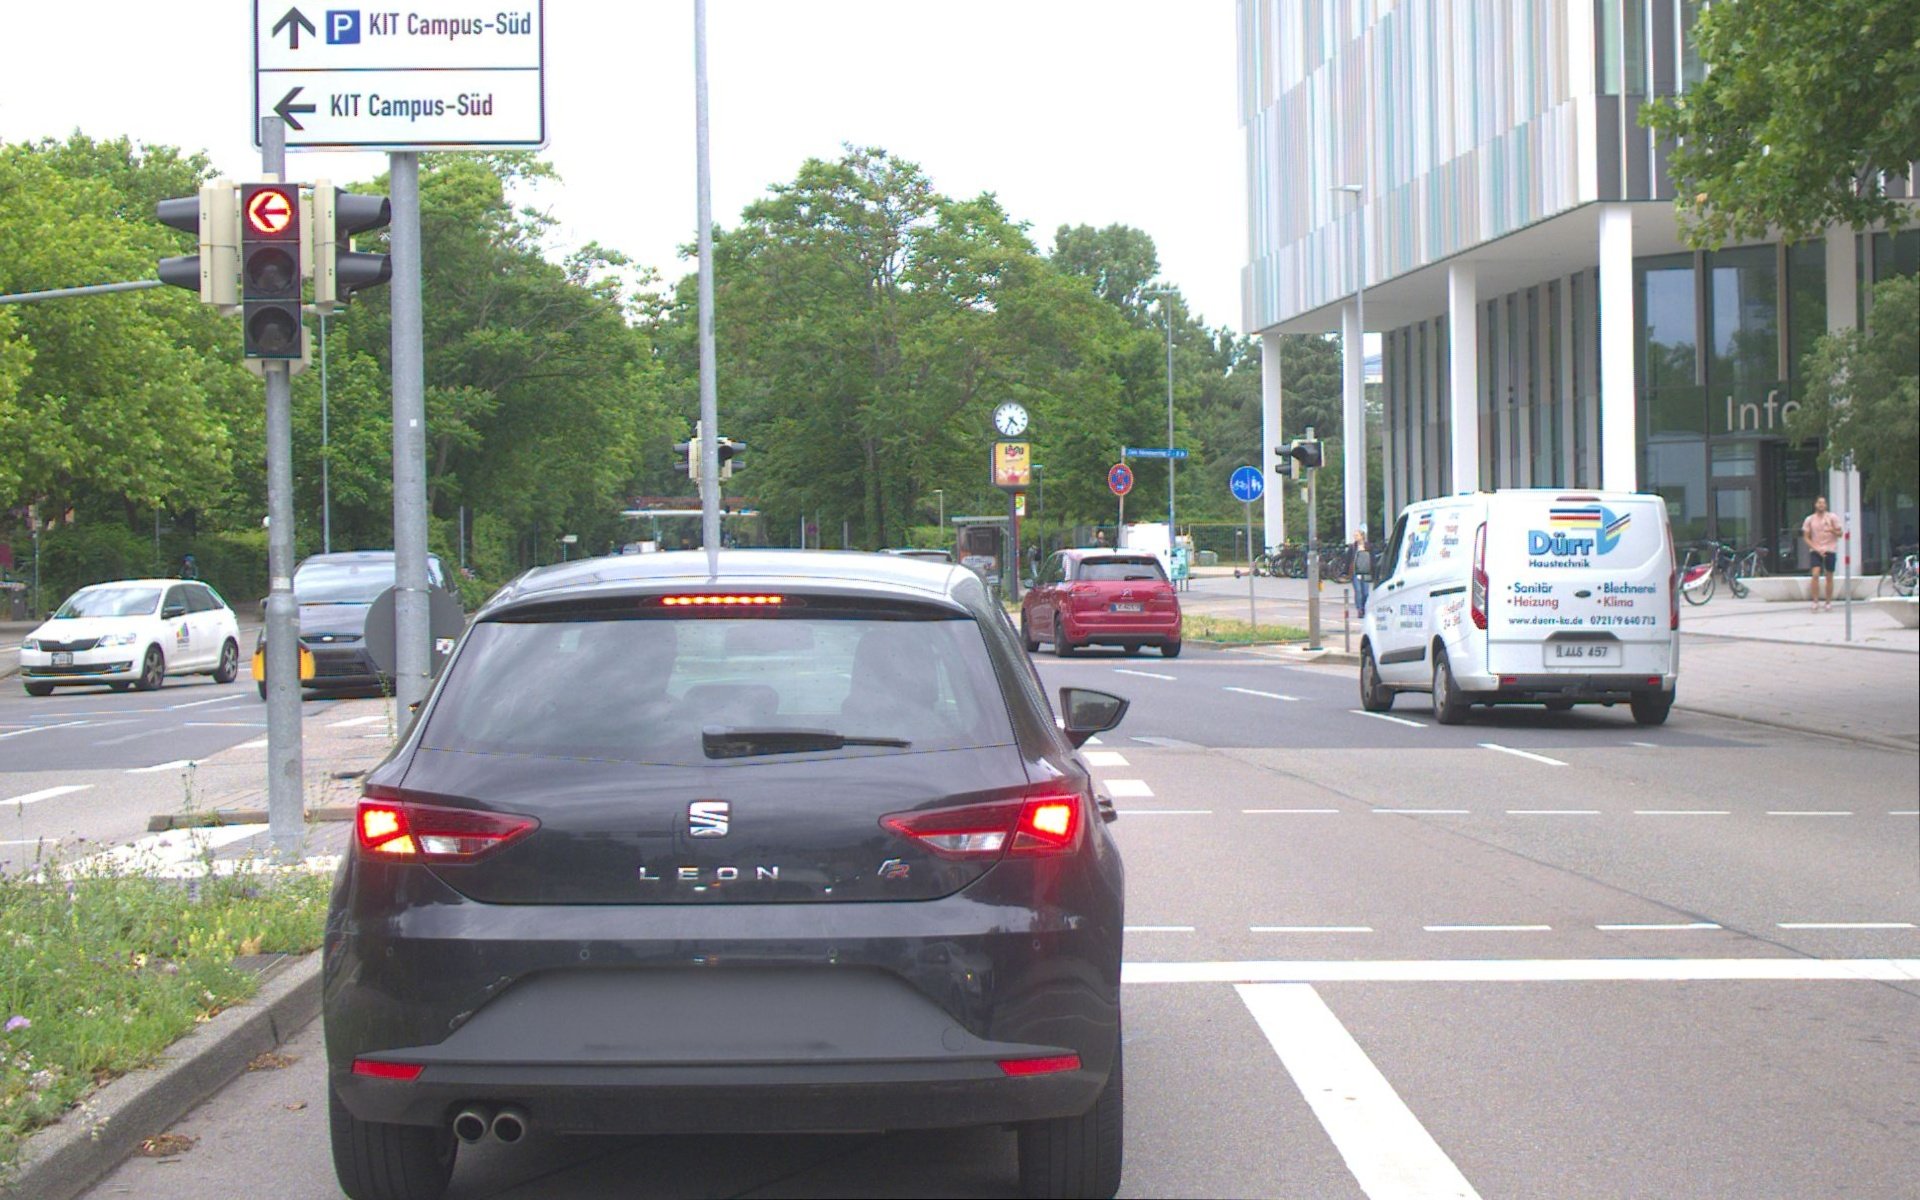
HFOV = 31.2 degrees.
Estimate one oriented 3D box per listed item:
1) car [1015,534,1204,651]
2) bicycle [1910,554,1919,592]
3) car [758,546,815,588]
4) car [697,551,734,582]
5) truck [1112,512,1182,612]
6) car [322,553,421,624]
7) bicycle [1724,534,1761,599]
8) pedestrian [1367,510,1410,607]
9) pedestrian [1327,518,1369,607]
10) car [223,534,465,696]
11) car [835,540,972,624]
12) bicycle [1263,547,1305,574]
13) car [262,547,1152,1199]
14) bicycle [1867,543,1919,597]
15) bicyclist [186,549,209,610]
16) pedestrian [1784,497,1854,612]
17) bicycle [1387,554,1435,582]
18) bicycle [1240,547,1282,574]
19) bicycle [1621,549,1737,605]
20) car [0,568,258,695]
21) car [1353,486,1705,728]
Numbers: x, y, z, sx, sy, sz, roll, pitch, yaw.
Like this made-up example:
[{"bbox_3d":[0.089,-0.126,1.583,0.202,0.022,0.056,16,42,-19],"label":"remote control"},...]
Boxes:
[{"bbox_3d":[2.175,-0.143,50.955,1.948,1.618,3.750,0,2,-11],"label":"car"},{"bbox_3d":[18.540,-0.537,64.767,1.522,0.714,0.519,-4,2,-43],"label":"bicycle"},{"bbox_3d":[-6.088,-1.173,120.294,1.898,1.349,3.883,-2,1,-4],"label":"car"},{"bbox_3d":[-12.723,-1.752,178.736,1.695,1.498,4.011,-3,1,-7],"label":"car"},{"bbox_3d":[4.350,-0.908,80.283,1.317,2.235,3.402,-2,1,-1],"label":"truck"},{"bbox_3d":[-15.538,-0.318,90.923,1.906,1.711,4.000,-2,1,0],"label":"car"},{"bbox_3d":[15.598,-0.675,68.520,0.527,1.248,1.664,-2,1,18],"label":"bicycle"},{"bbox_3d":[7.946,-0.774,63.756,0.687,1.775,0.677,-1,1,0],"label":"pedestrian"},{"bbox_3d":[7.190,-0.698,63.680,0.687,1.634,0.633,0,1,0],"label":"pedestrian"},{"bbox_3d":[-6.965,0.137,39.319,1.921,1.659,4.399,-3,1,0],"label":"car"},{"bbox_3d":[-1.239,-0.408,73.278,1.914,1.658,4.116,-3,2,-15],"label":"car"},{"bbox_3d":[10.463,-1.273,111.043,1.234,0.820,0.482,1,0,-22],"label":"bicycle"},{"bbox_3d":[-0.441,0.598,8.664,1.753,1.427,3.769,0,1,2],"label":"car"},{"bbox_3d":[17.901,-0.587,65.458,0.696,0.943,1.981,-2,2,30],"label":"bicycle"},{"bbox_3d":[-20.264,-0.547,91.375,0.491,1.619,0.588,1,2,-3],"label":"bicyclist"},{"bbox_3d":[13.510,-0.716,54.073,0.847,1.759,0.768,-2,1,0],"label":"pedestrian"},{"bbox_3d":[11.947,-0.847,91.066,1.240,0.703,0.489,-2,1,8],"label":"bicycle"},{"bbox_3d":[9.896,-1.300,113.028,1.258,0.845,0.482,2,0,-23],"label":"bicycle"},{"bbox_3d":[12.622,-0.408,60.332,1.886,0.895,0.697,-3,1,-21],"label":"bicycle"},{"bbox_3d":[-10.816,0.381,44.919,1.705,1.426,4.226,-2,1,11],"label":"car"},{"bbox_3d":[4.922,0.016,30.393,1.966,1.965,4.345,1,1,-6],"label":"car"}]
